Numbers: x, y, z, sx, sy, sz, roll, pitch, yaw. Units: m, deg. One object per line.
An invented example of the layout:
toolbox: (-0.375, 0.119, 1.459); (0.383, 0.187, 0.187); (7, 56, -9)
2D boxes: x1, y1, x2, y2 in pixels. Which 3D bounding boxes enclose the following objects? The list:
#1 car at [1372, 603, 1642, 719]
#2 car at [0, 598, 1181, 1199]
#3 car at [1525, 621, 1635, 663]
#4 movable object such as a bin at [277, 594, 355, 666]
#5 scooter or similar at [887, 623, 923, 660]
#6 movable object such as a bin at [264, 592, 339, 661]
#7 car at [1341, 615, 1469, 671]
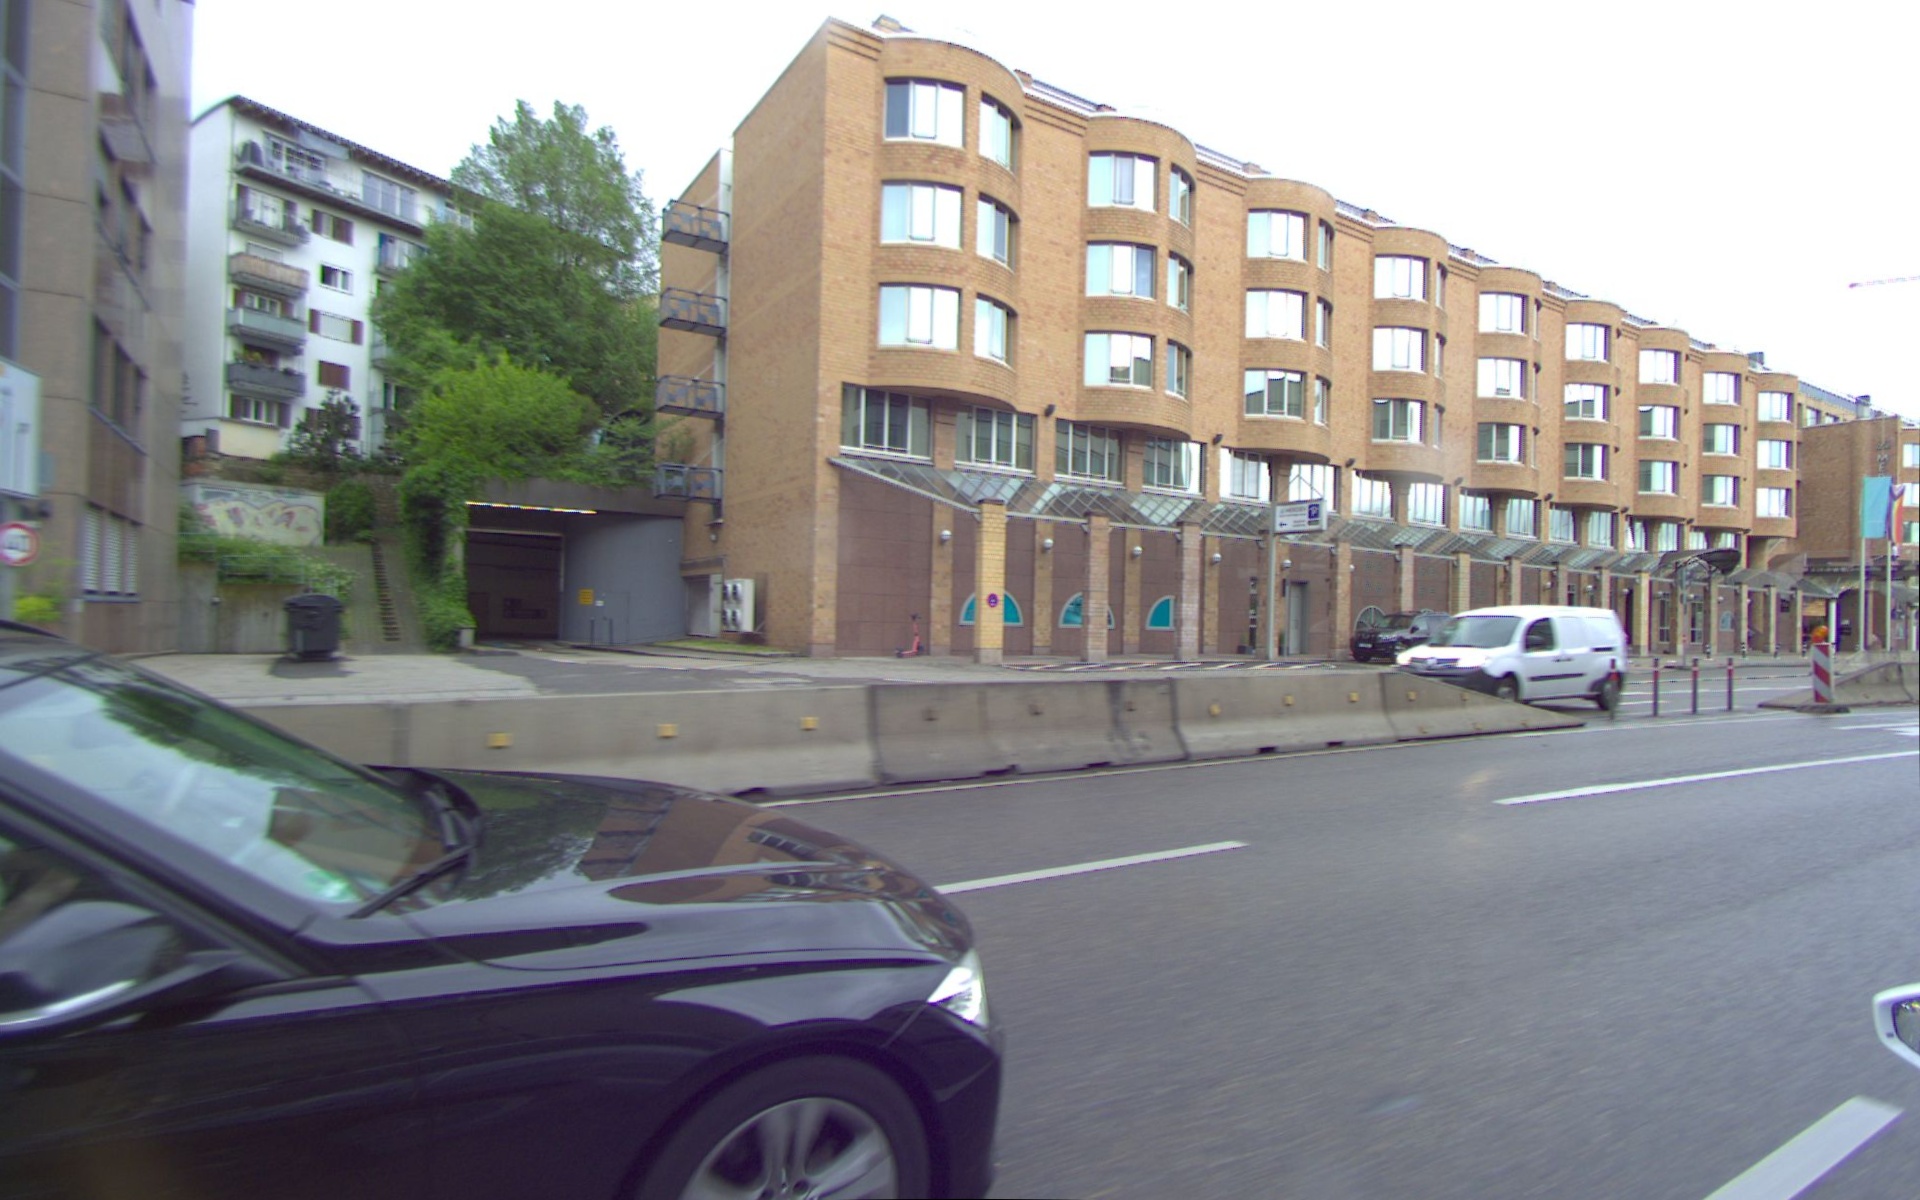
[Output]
car: (9.618, 1.002, 17.564); (4.817, 1.807, 1.878); (1, -1, -29)
car: (-1.906, 0.726, 1.856); (4.603, 1.462, 1.758); (1, -1, -32)
car: (27.088, 1.815, 43.872); (4.990, 1.713, 1.984); (1, -1, -30)
movable object such as a bin: (-13.904, 0.637, 21.680); (1.337, 1.499, 1.234); (1, -1, -36)
scooter or similar: (-1.626, 1.214, 29.697); (1.037, 1.077, 0.444); (2, -1, -43)
movable object such as a bin: (-14.906, 0.596, 22.735); (1.338, 1.499, 1.234); (1, -1, -37)
car: (16.385, 1.532, 36.884); (4.962, 1.911, 1.981); (1, -1, -34)
